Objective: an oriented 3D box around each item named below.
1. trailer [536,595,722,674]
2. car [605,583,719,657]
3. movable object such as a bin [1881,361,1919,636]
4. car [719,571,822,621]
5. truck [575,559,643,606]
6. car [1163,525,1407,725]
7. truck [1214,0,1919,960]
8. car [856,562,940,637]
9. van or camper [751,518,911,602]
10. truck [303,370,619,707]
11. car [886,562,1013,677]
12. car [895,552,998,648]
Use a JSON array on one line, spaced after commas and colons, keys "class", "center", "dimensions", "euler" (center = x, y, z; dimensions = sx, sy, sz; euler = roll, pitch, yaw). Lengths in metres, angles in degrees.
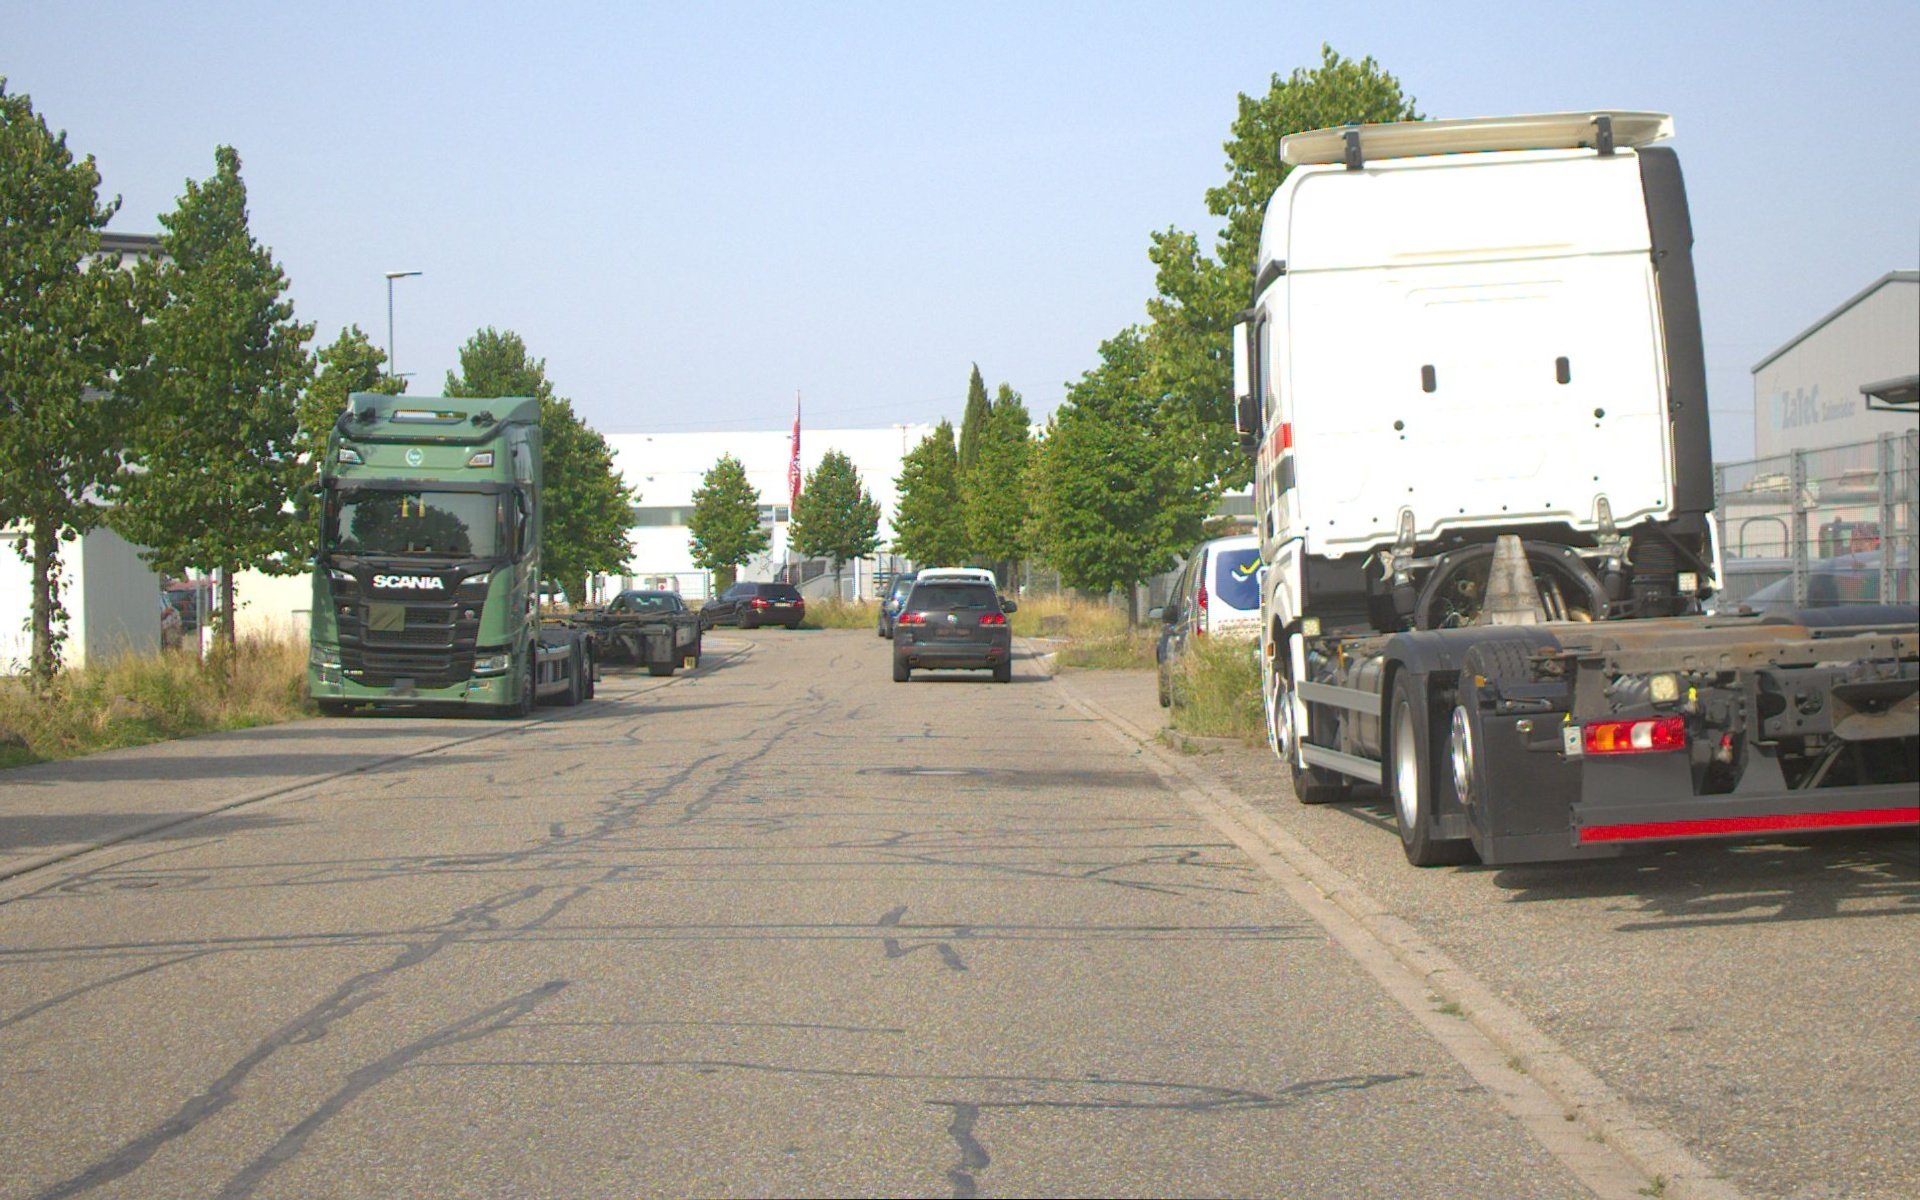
[{"class": "trailer", "center": [-5.960, 0.594, 62.882], "dimensions": [2.130, 1.228, 7.156], "euler": [1, 1, 5]}, {"class": "car", "center": [-6.308, 0.397, 73.280], "dimensions": [1.993, 1.461, 4.432], "euler": [1, 1, 0]}, {"class": "movable object such as a bin", "center": [18.398, -1.763, 58.181], "dimensions": [3.316, 4.790, 7.674], "euler": [-1, 1, -2]}, {"class": "car", "center": [-5.873, -0.121, 106.059], "dimensions": [1.993, 1.470, 4.001], "euler": [1, 1, -21]}, {"class": "truck", "center": [-17.427, -0.911, 171.045], "dimensions": [2.450, 2.257, 8.002], "euler": [0, 1, 1]}, {"class": "car", "center": [3.057, 0.238, 33.214], "dimensions": [1.993, 1.783, 4.599], "euler": [-1, 0, 1]}, {"class": "truck", "center": [3.145, -0.841, 17.125], "dimensions": [2.745, 4.001, 9.687], "euler": [-3, 1, -1]}, {"class": "car", "center": [-1.527, -0.026, 86.197], "dimensions": [1.993, 1.798, 4.000], "euler": [1, 1, 0]}, {"class": "van or camper", "center": [-4.605, -1.366, 120.867], "dimensions": [2.349, 2.838, 7.342], "euler": [-1, 0, -31]}, {"class": "truck", "center": [-6.274, -0.696, 44.774], "dimensions": [2.455, 3.868, 9.802], "euler": [1, 0, 1]}, {"class": "car", "center": [-0.160, 0.291, 56.453], "dimensions": [1.993, 1.798, 4.000], "euler": [1, 1, 0]}, {"class": "car", "center": [-0.315, -0.023, 71.181], "dimensions": [1.993, 1.893, 4.468], "euler": [-1, 1, -2]}]
